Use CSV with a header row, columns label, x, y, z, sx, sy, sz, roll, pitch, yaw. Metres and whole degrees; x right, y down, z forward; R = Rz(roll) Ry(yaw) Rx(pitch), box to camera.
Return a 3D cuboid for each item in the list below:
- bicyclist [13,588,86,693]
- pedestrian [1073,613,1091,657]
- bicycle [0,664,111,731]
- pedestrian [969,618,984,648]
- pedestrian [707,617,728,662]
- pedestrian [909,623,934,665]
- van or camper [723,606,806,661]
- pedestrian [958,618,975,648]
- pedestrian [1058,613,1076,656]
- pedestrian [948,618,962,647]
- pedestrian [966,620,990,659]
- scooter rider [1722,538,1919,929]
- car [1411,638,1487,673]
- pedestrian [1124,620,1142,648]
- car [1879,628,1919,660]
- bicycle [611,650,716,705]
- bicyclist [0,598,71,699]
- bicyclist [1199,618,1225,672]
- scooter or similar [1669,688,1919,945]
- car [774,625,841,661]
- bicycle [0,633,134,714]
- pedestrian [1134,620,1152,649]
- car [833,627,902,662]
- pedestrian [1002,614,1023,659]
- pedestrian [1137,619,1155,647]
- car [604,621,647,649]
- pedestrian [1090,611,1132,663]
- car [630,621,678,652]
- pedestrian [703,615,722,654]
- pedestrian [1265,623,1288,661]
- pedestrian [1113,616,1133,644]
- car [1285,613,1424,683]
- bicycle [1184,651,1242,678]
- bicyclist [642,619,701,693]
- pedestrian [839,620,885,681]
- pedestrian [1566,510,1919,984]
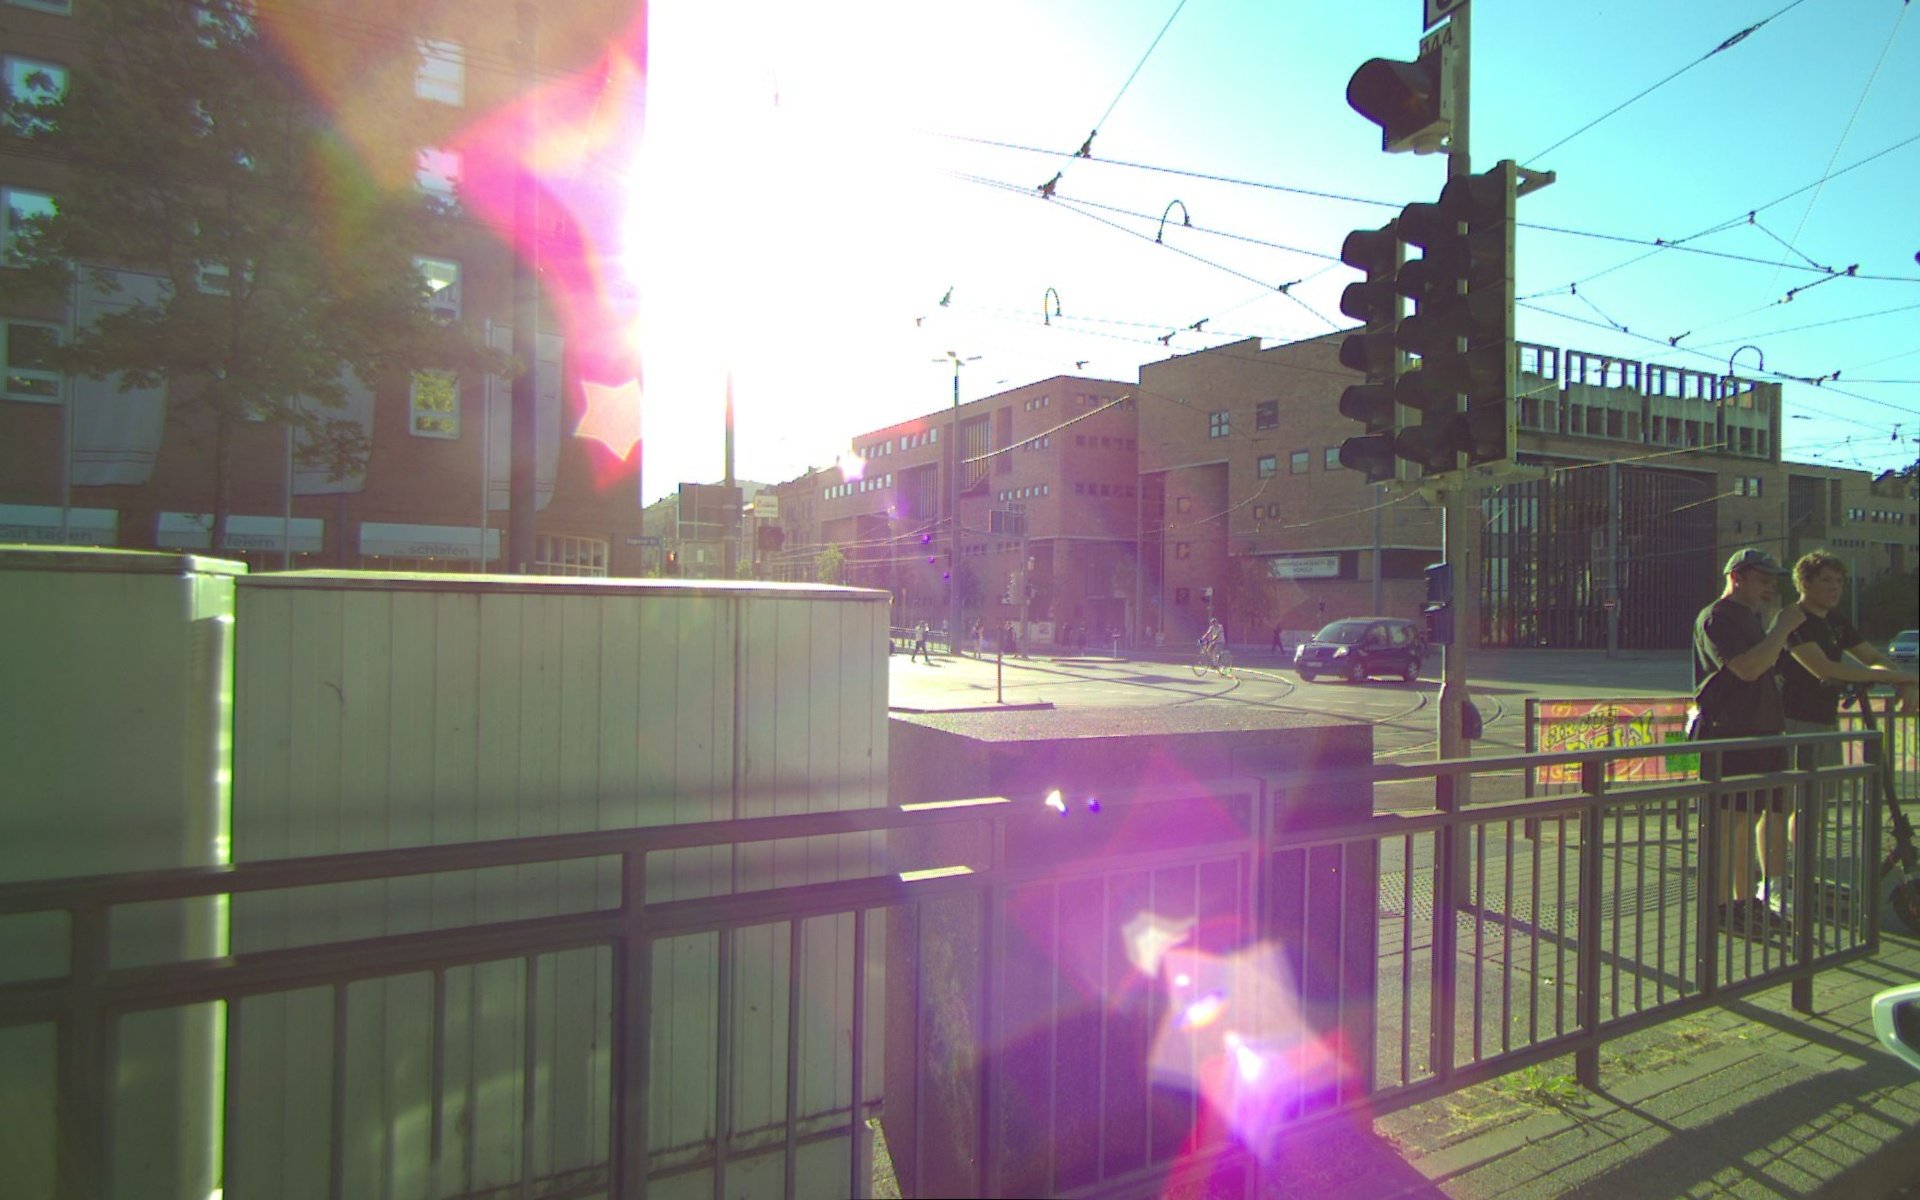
label,x,y,z,sx,sy,sz,roll,pitch,yaw
bicyclist,-14.242,0.615,15.734,0.752,1.581,0.677,-1,0,-37
pedestrian,5.787,1.663,47.670,0.603,2.040,0.731,0,-1,30
bicycle,-15.011,1.573,16.254,1.884,1.011,0.648,1,-2,-37
pedestrian,1.123,2.218,67.618,0.742,2.010,0.780,1,-1,-32
pedestrian,-11.056,1.799,45.779,0.597,2.040,0.848,1,-1,-38
pedestrian,-1.629,1.857,42.918,0.857,1.775,0.672,1,-1,-30
van or camper,-9.380,1.580,47.904,1.981,2.451,4.980,1,-2,-36
pedestrian,0.432,2.194,67.134,0.917,2.010,0.780,1,-1,-32
pedestrian,5.101,1.641,48.053,0.603,2.040,0.731,0,-1,30
pedestrian,-0.320,2.241,69.355,0.644,2.040,0.780,1,-1,-32
pedestrian,0.812,1.792,45.991,0.860,1.775,0.670,1,-2,-39
scooter rider,4.486,0.660,5.237,0.670,1.877,0.564,3,-2,-25
car,30.116,3.370,61.823,4.133,2.040,1.989,1,-2,-23
pedestrian,12.785,2.534,74.331,0.841,2.079,1.001,1,-1,-32
car,48.933,2.258,51.751,3.962,1.598,1.610,1,-2,-36
bicycle,-6.195,1.603,21.022,1.993,1.064,0.647,2,-1,-35
bicyclist,-14.975,0.777,16.290,0.752,1.595,0.656,1,-2,-37
bicyclist,7.783,1.383,31.036,0.509,1.647,0.583,1,-1,-34
scooter or similar,4.487,1.047,5.186,0.639,1.095,1.199,1,-1,-25
car,-7.804,2.158,51.173,1.978,1.709,3.965,1,-2,-33
bicycle,-14.284,1.129,15.687,2.091,1.157,0.680,-1,0,-37
pedestrian,13.374,2.499,73.281,0.841,2.079,1.001,1,-1,-32
car,-4.814,2.251,51.797,1.978,1.709,3.965,1,-2,-33
pedestrian,2.400,1.676,45.952,0.728,2.040,0.606,1,-2,-43
pedestrian,13.894,2.436,74.959,0.841,2.079,1.001,1,-1,-32
car,-21.714,2.259,65.088,1.738,1.750,3.965,1,-2,-32
pedestrian,5.998,1.465,39.922,1.193,2.040,1.028,2,0,-30
car,-18.303,2.153,59.987,1.738,1.750,3.965,1,-2,-32
pedestrian,-11.763,1.640,47.766,0.597,1.843,0.848,1,-1,-38
pedestrian,16.385,2.166,51.998,0.866,1.927,0.718,2,0,-33
pedestrian,11.920,2.184,73.406,0.902,2.040,1.151,1,-1,-34
car,11.201,1.316,28.438,3.964,1.786,1.854,1,0,-37
bicycle,7.831,1.969,31.057,1.948,0.781,0.586,1,-2,-35
bicyclist,-6.066,1.169,21.138,1.022,1.494,0.649,2,-1,-35
pedestrian,-3.038,1.552,31.160,0.943,1.822,0.989,2,0,40
pedestrian,3.716,0.610,4.773,0.843,1.908,1.164,1,-1,-25
